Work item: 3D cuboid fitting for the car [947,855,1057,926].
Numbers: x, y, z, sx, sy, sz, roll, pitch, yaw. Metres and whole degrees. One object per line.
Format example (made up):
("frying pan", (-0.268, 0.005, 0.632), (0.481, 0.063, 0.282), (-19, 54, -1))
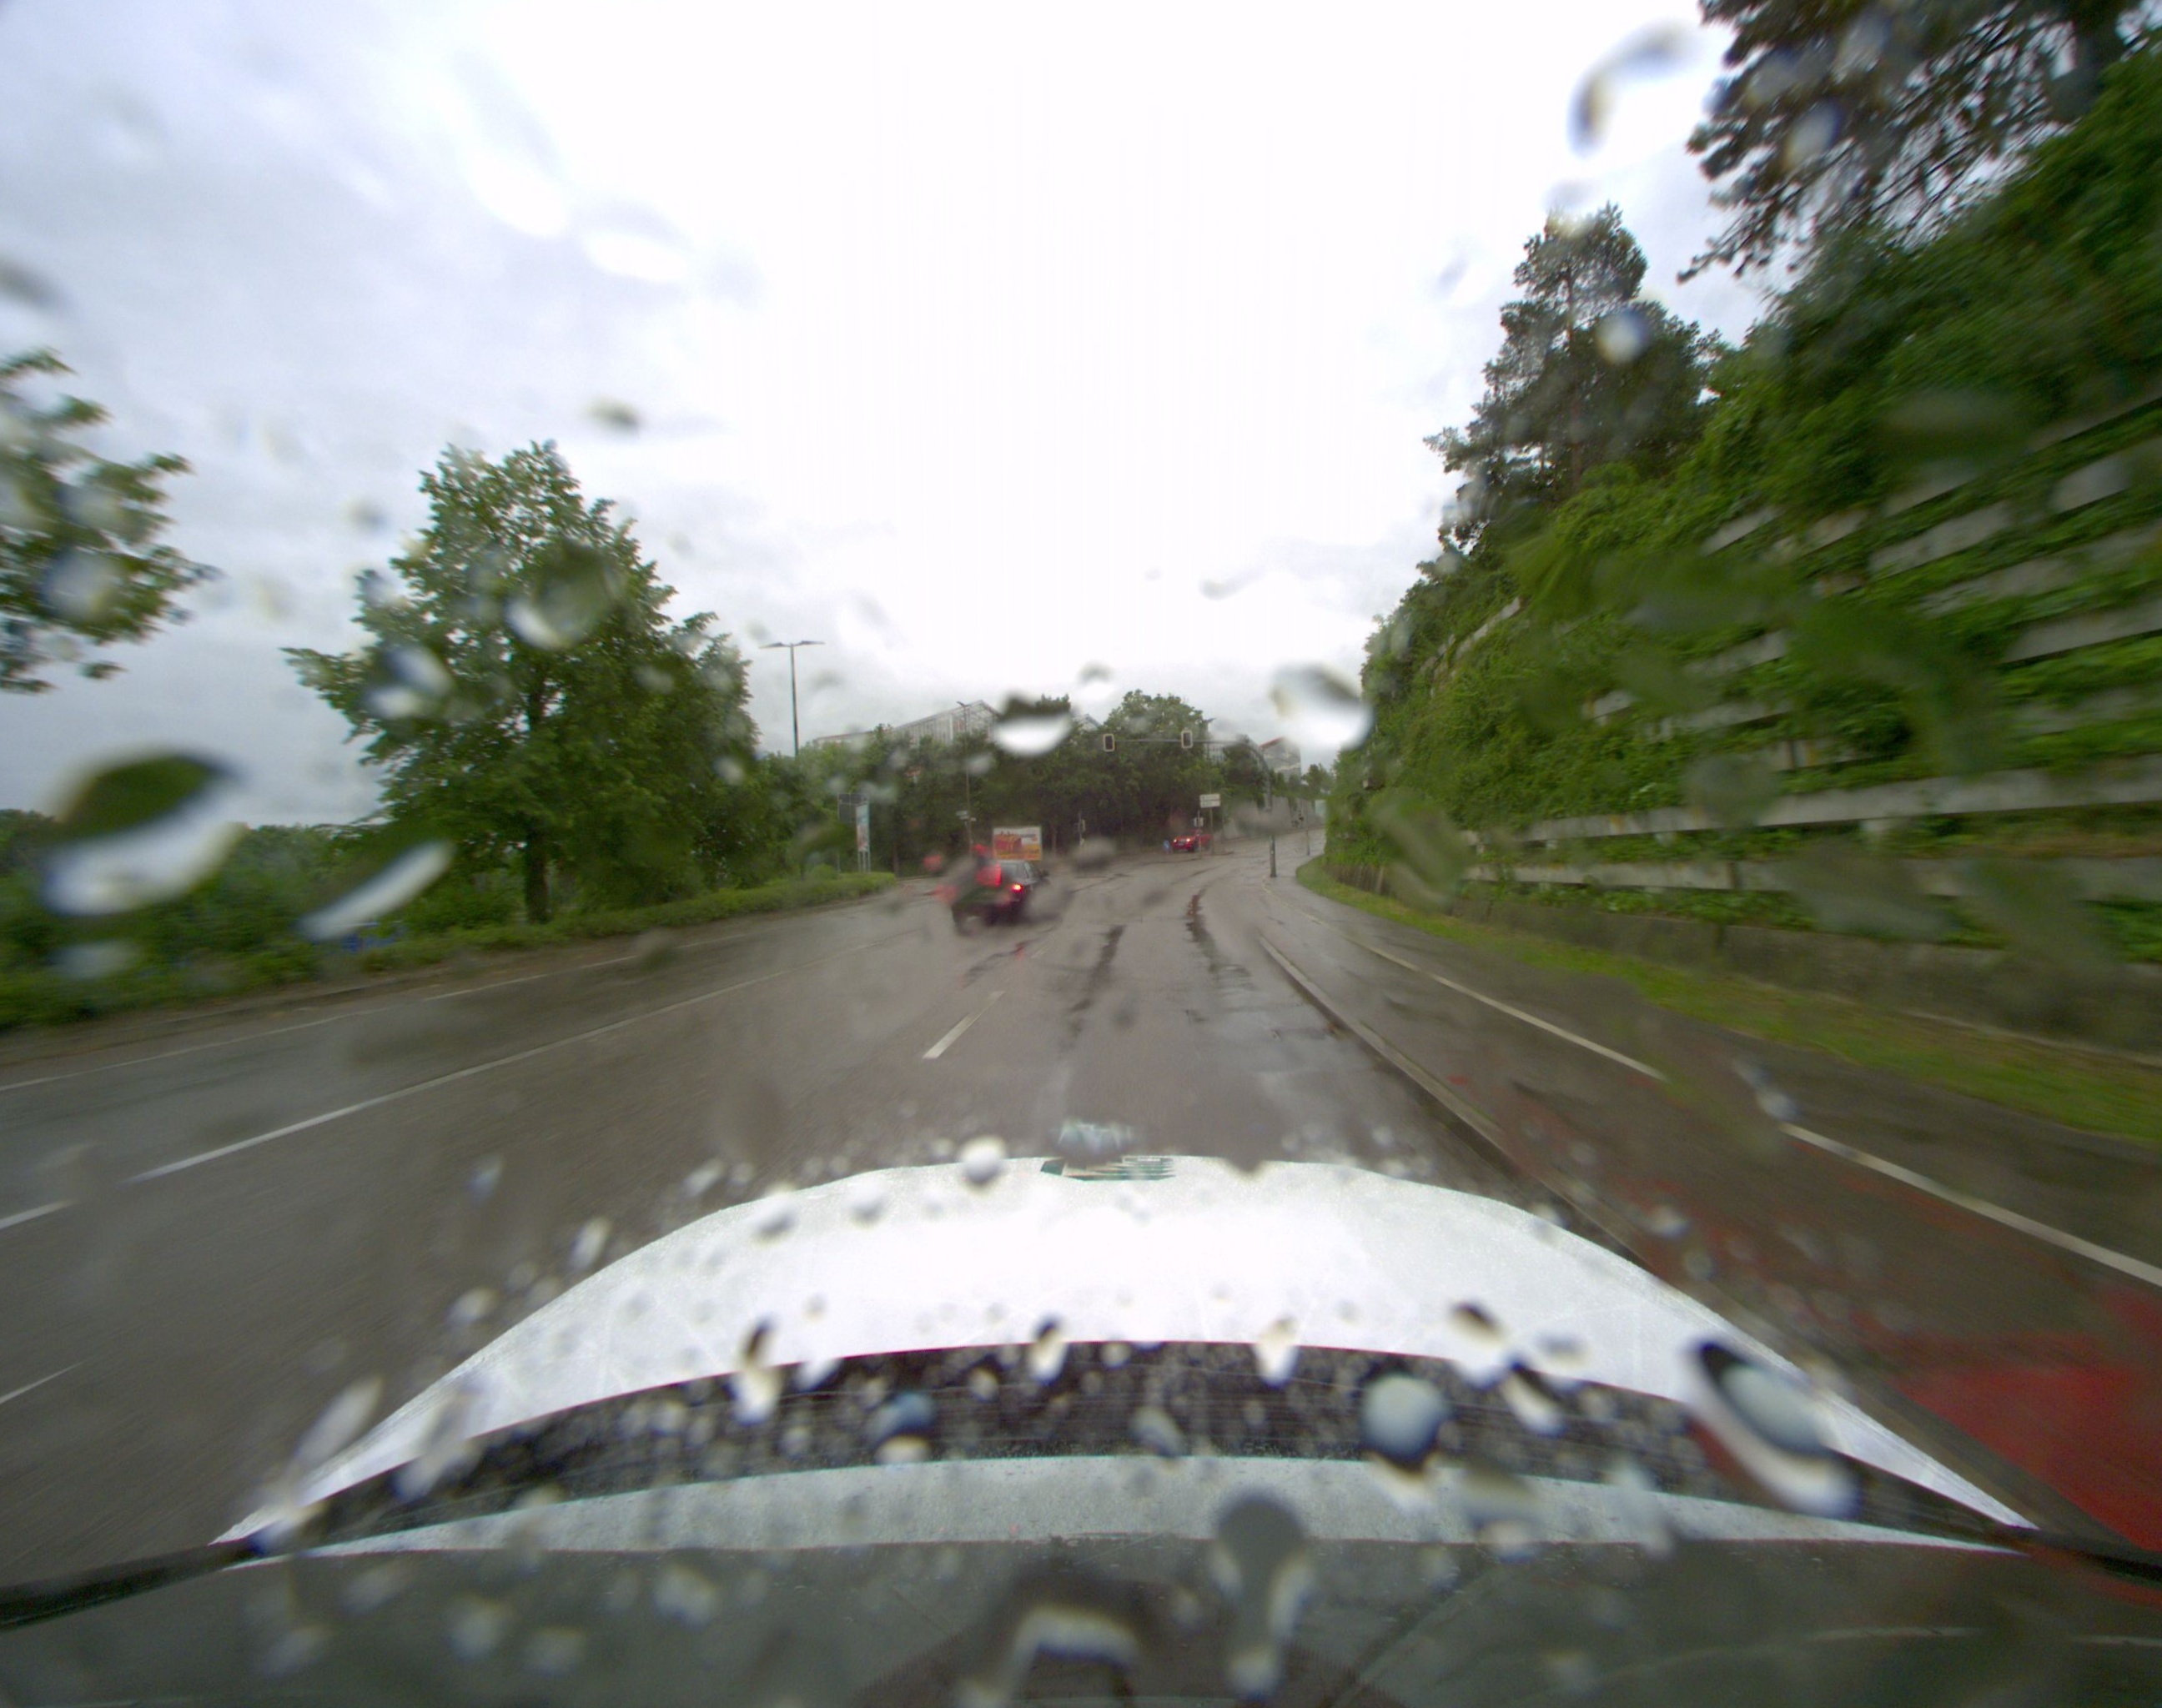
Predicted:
("car", (-1.734, 0.768, 19.178), (1.746, 1.395, 4.007), (-2, 1, 6))

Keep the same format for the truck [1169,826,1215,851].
("truck", (9.636, -1.329, 70.167), (1.974, 2.013, 5.371), (-1, 0, 31))
